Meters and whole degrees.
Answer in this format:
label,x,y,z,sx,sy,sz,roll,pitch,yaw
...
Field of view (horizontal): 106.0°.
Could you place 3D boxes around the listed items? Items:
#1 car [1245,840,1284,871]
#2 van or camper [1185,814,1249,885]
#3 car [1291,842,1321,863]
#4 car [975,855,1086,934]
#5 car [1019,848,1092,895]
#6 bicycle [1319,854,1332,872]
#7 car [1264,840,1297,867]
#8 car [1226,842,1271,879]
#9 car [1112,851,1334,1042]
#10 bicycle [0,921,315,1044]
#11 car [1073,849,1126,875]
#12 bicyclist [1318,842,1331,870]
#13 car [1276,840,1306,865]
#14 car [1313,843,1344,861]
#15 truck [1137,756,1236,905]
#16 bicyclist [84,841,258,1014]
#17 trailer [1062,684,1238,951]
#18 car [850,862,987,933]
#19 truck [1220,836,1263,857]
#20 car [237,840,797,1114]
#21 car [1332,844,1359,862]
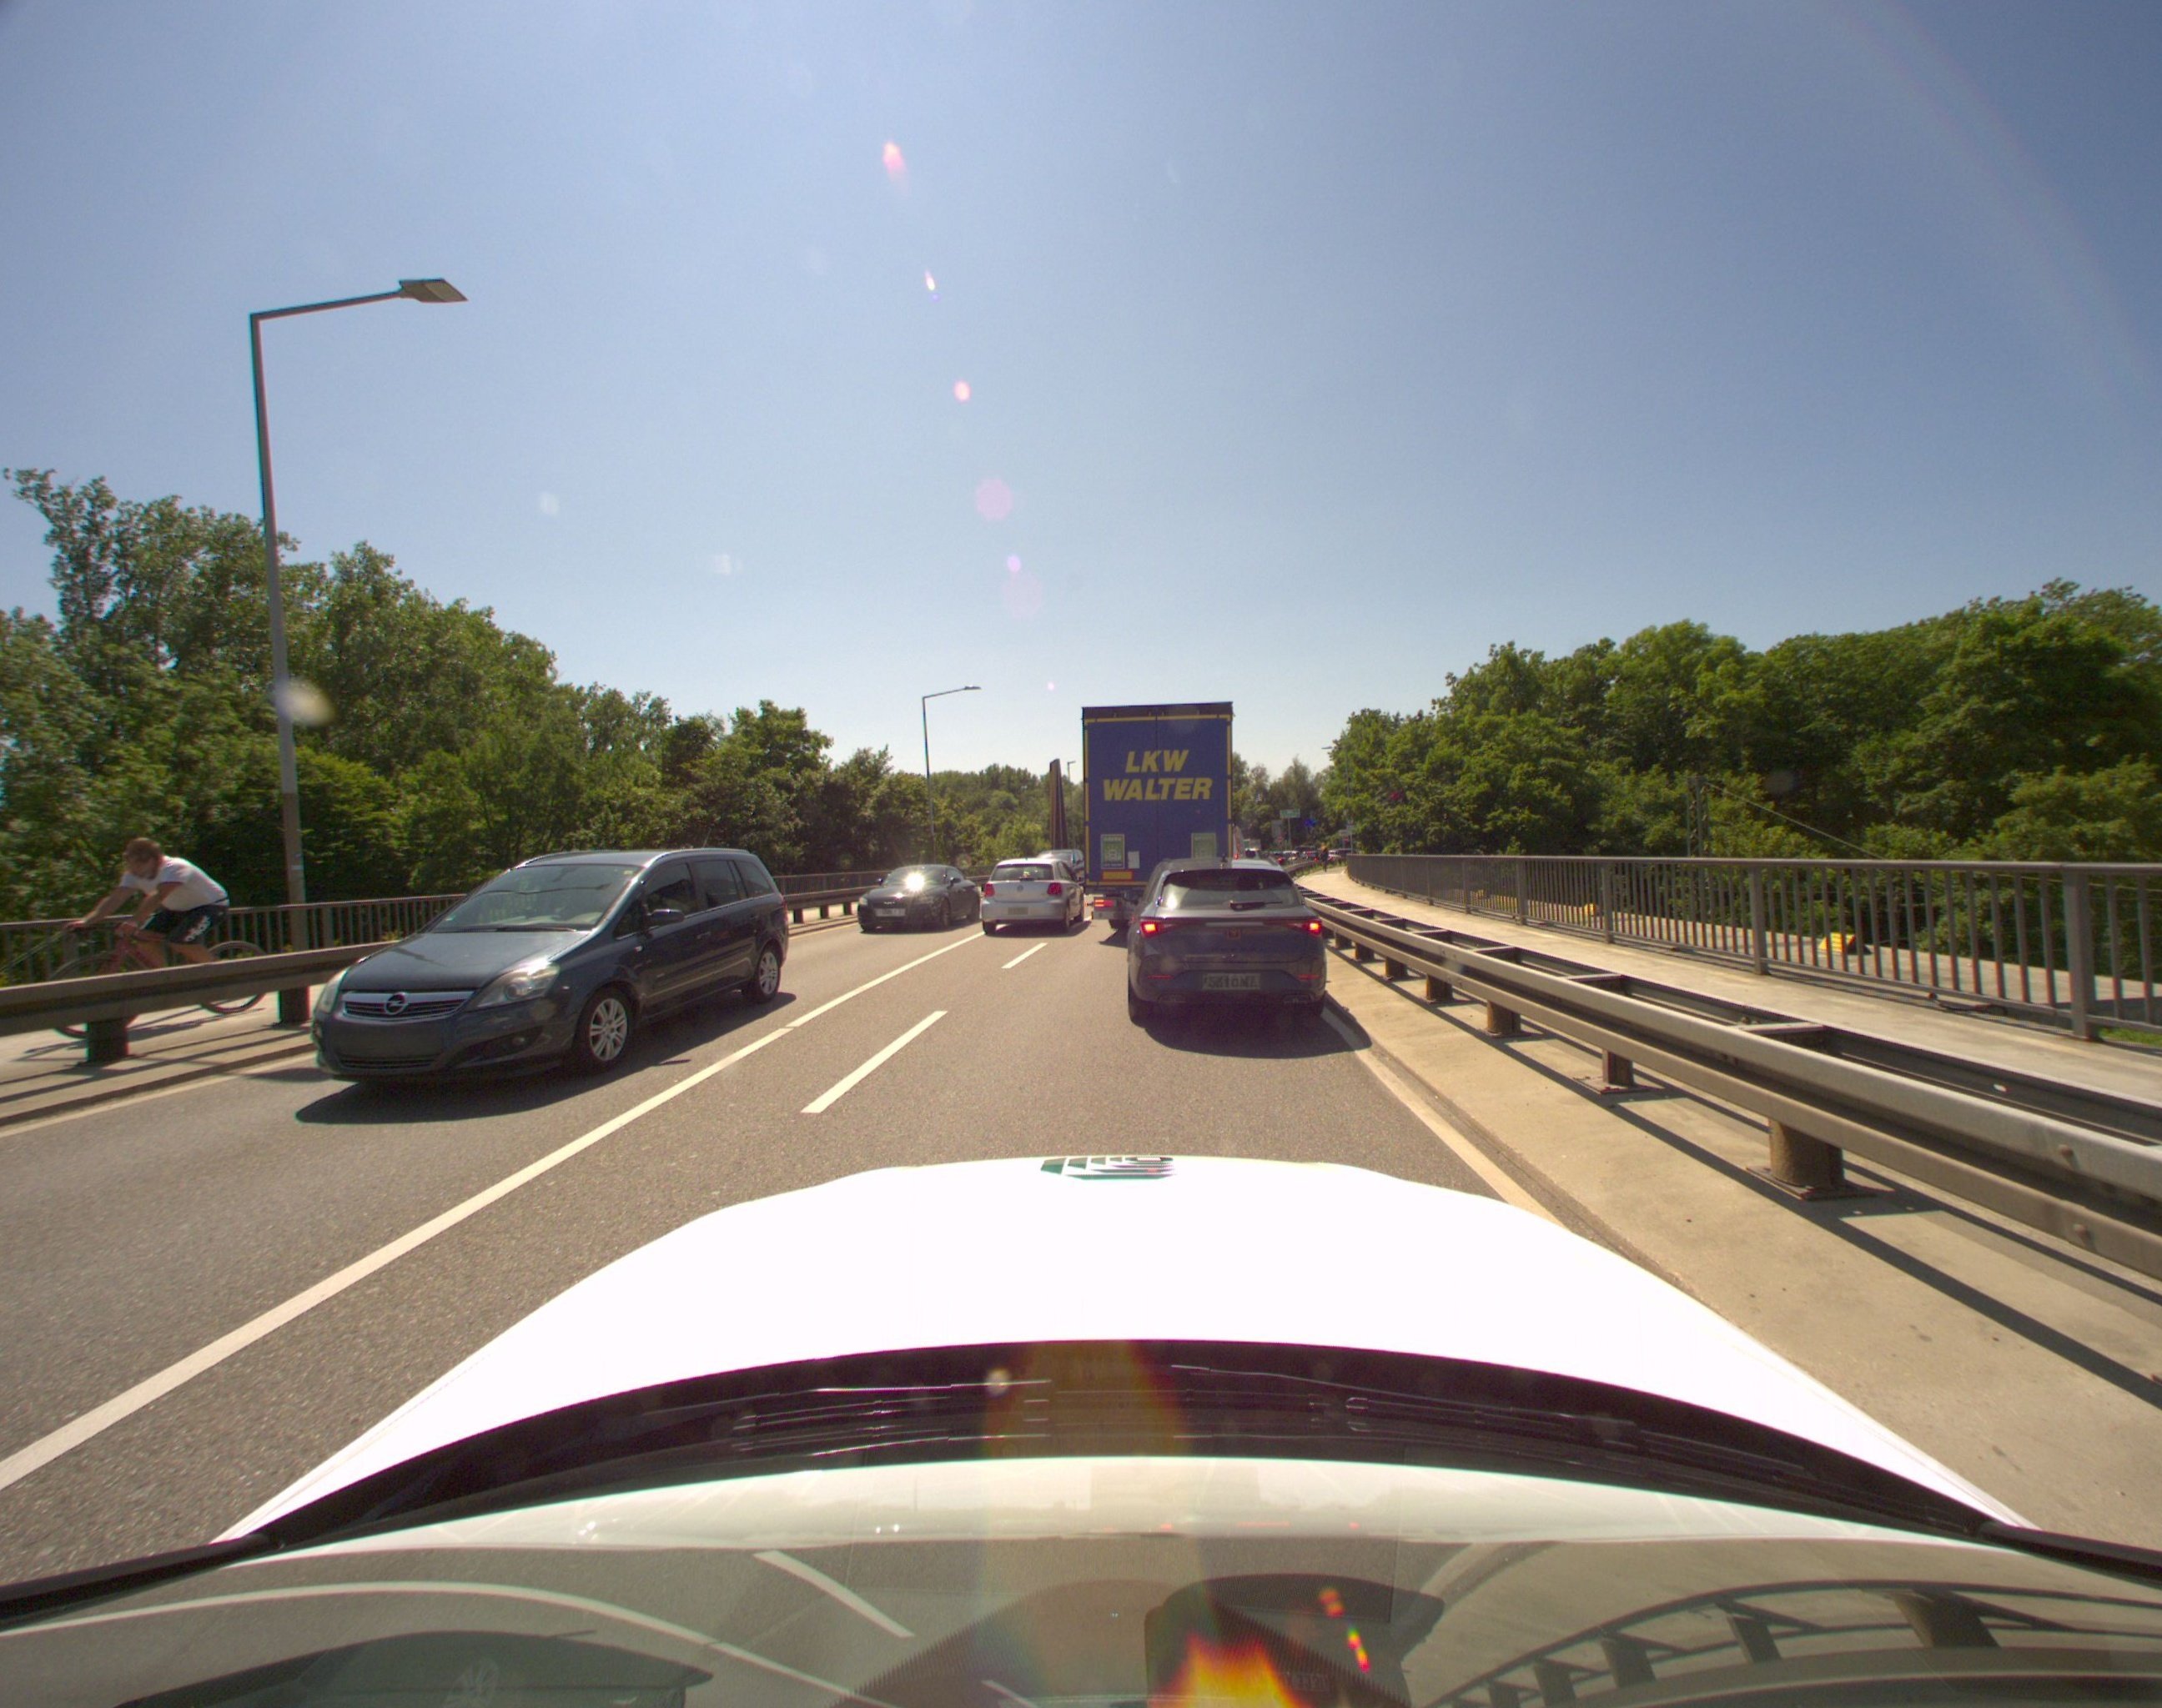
label,x,y,z,sx,sy,sz,roll,pitch,yaw
car,11.149,0.061,49.401,1.706,1.802,4.021,-1,0,21
van or camper,6.087,-0.198,35.777,2.138,2.815,6.413,-1,0,15
car,19.326,-0.130,69.875,1.670,1.760,4.023,-1,-1,26
car,-0.928,0.761,17.134,1.669,1.411,3.982,-1,0,6
car,-0.919,0.639,32.364,1.954,1.673,4.627,-2,0,10
bicycle,15.005,0.571,50.063,0.578,1.035,1.490,-4,-1,12
car,14.171,-0.040,57.760,1.706,1.844,4.022,-1,0,22
car,8.899,0.316,43.081,1.706,1.844,4.020,-1,1,20
car,1.296,0.718,8.279,1.669,1.456,3.965,-1,0,6
bicycle,-8.506,1.136,7.658,0.585,0.833,1.994,-2,0,5
car,1.196,0.464,50.168,1.695,1.469,4.484,-1,0,23
bicyclist,14.982,0.097,50.090,0.574,1.683,0.732,-4,-1,12
car,16.359,-0.131,63.416,1.706,1.844,4.022,-1,0,22
car,23.096,-0.155,75.950,1.975,1.575,4.024,0,-1,29
truck,3.790,-0.717,27.802,2.886,4.418,6.575,-1,0,11
bicyclist,-8.522,0.649,7.669,0.580,1.521,0.897,-2,0,5
trailer,2.287,-0.629,19.875,2.886,4.418,12.470,-1,0,11
car,-3.443,0.876,18.024,1.668,1.308,3.983,-1,0,9
truck,22.284,-1.012,113.159,2.352,2.873,5.876,-1,0,-35
car,-4.140,0.738,7.020,1.700,1.626,4.255,-1,0,2
car,26.528,-0.115,81.719,1.669,1.760,4.025,-1,-1,31
